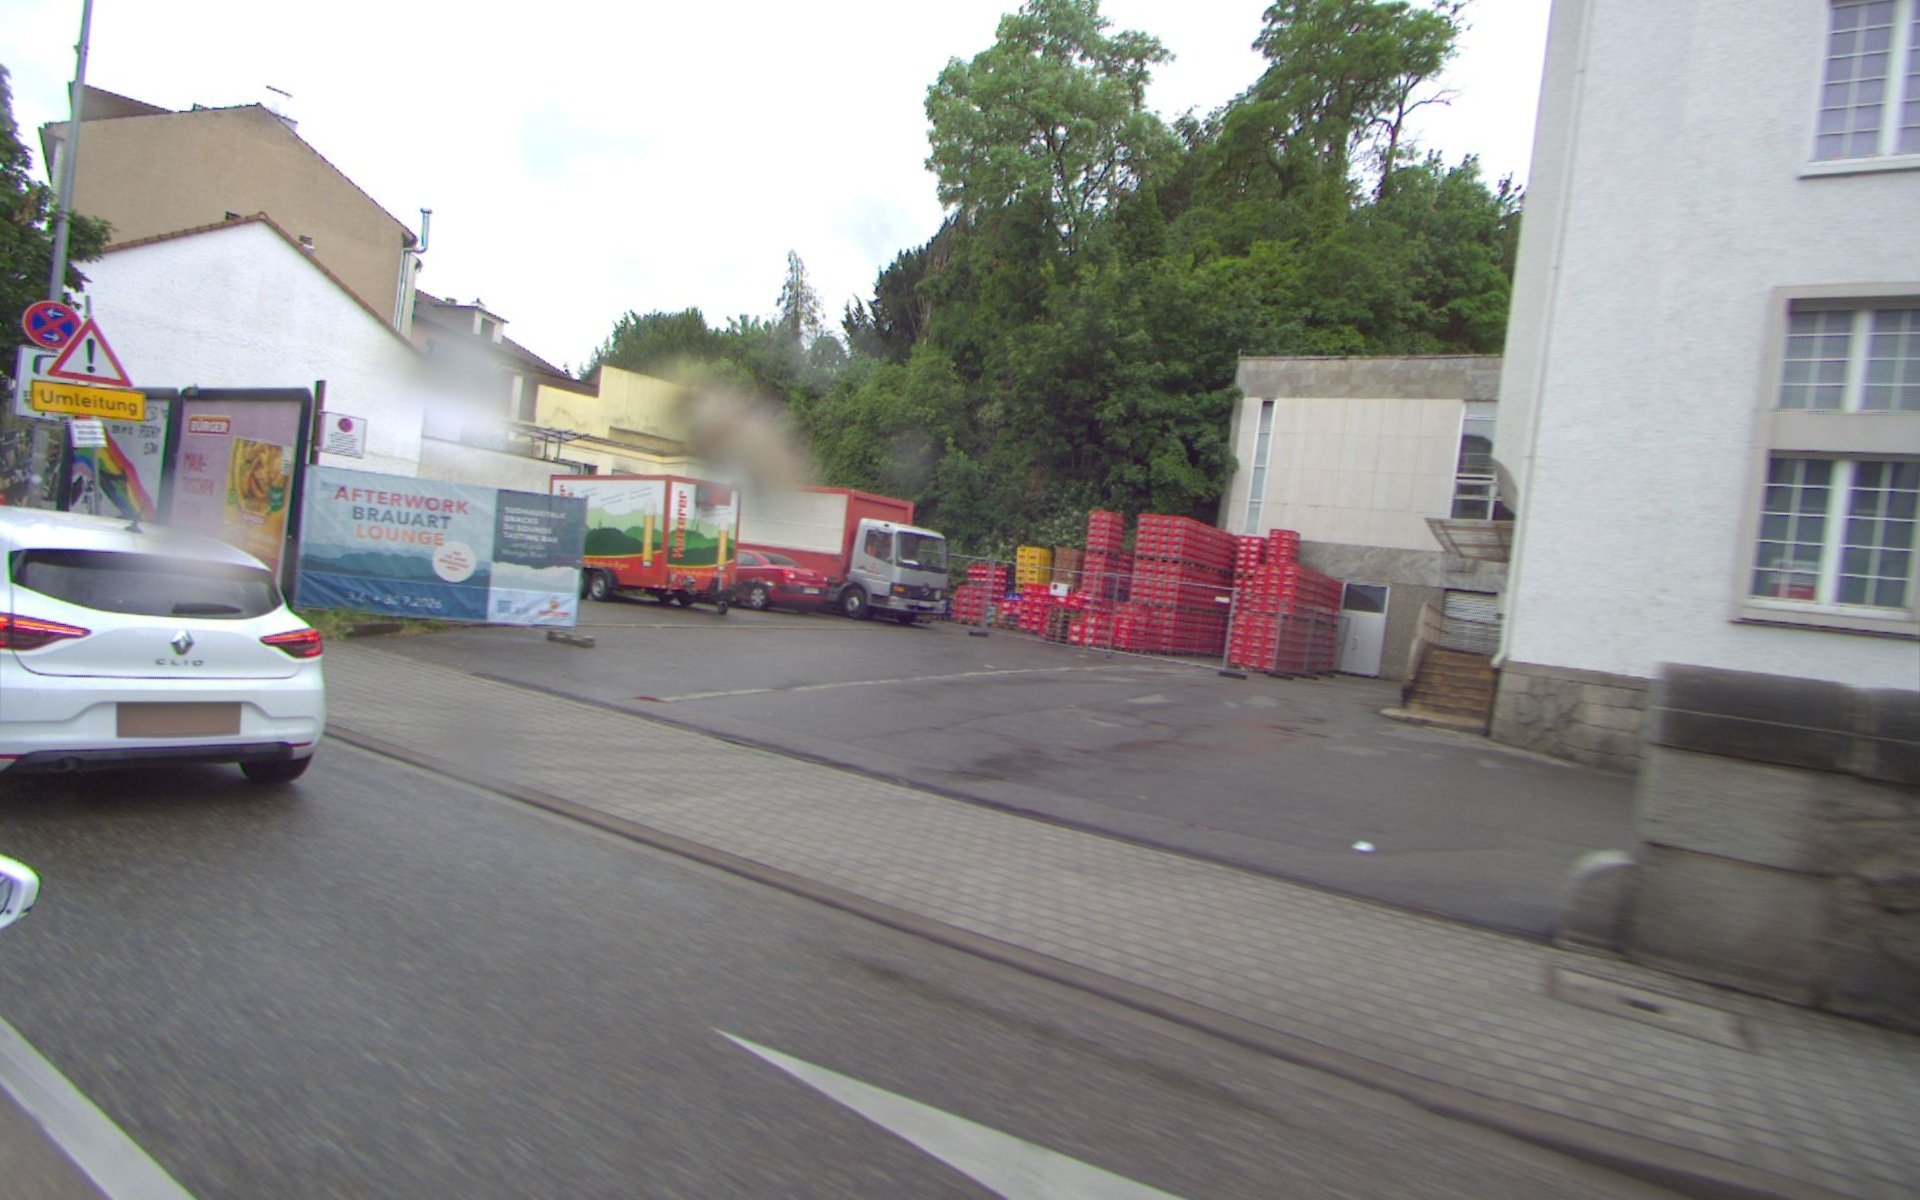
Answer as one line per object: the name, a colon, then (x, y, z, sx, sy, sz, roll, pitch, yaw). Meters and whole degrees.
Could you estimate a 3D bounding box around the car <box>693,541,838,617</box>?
car: (-4.761, -0.523, 24.484, 3.214, 1.475, 1.589, 7, 2, 36)

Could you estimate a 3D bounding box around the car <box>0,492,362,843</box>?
car: (-5.449, 0.159, 5.895, 3.801, 1.414, 1.666, 8, 2, 31)

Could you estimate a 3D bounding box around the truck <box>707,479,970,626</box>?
truck: (-3.395, -1.345, 26.948, 6.822, 3.258, 2.629, 7, 2, 36)

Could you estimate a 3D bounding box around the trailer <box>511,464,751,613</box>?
trailer: (-7.404, -1.407, 22.418, 5.304, 2.753, 2.126, 8, 3, 34)
